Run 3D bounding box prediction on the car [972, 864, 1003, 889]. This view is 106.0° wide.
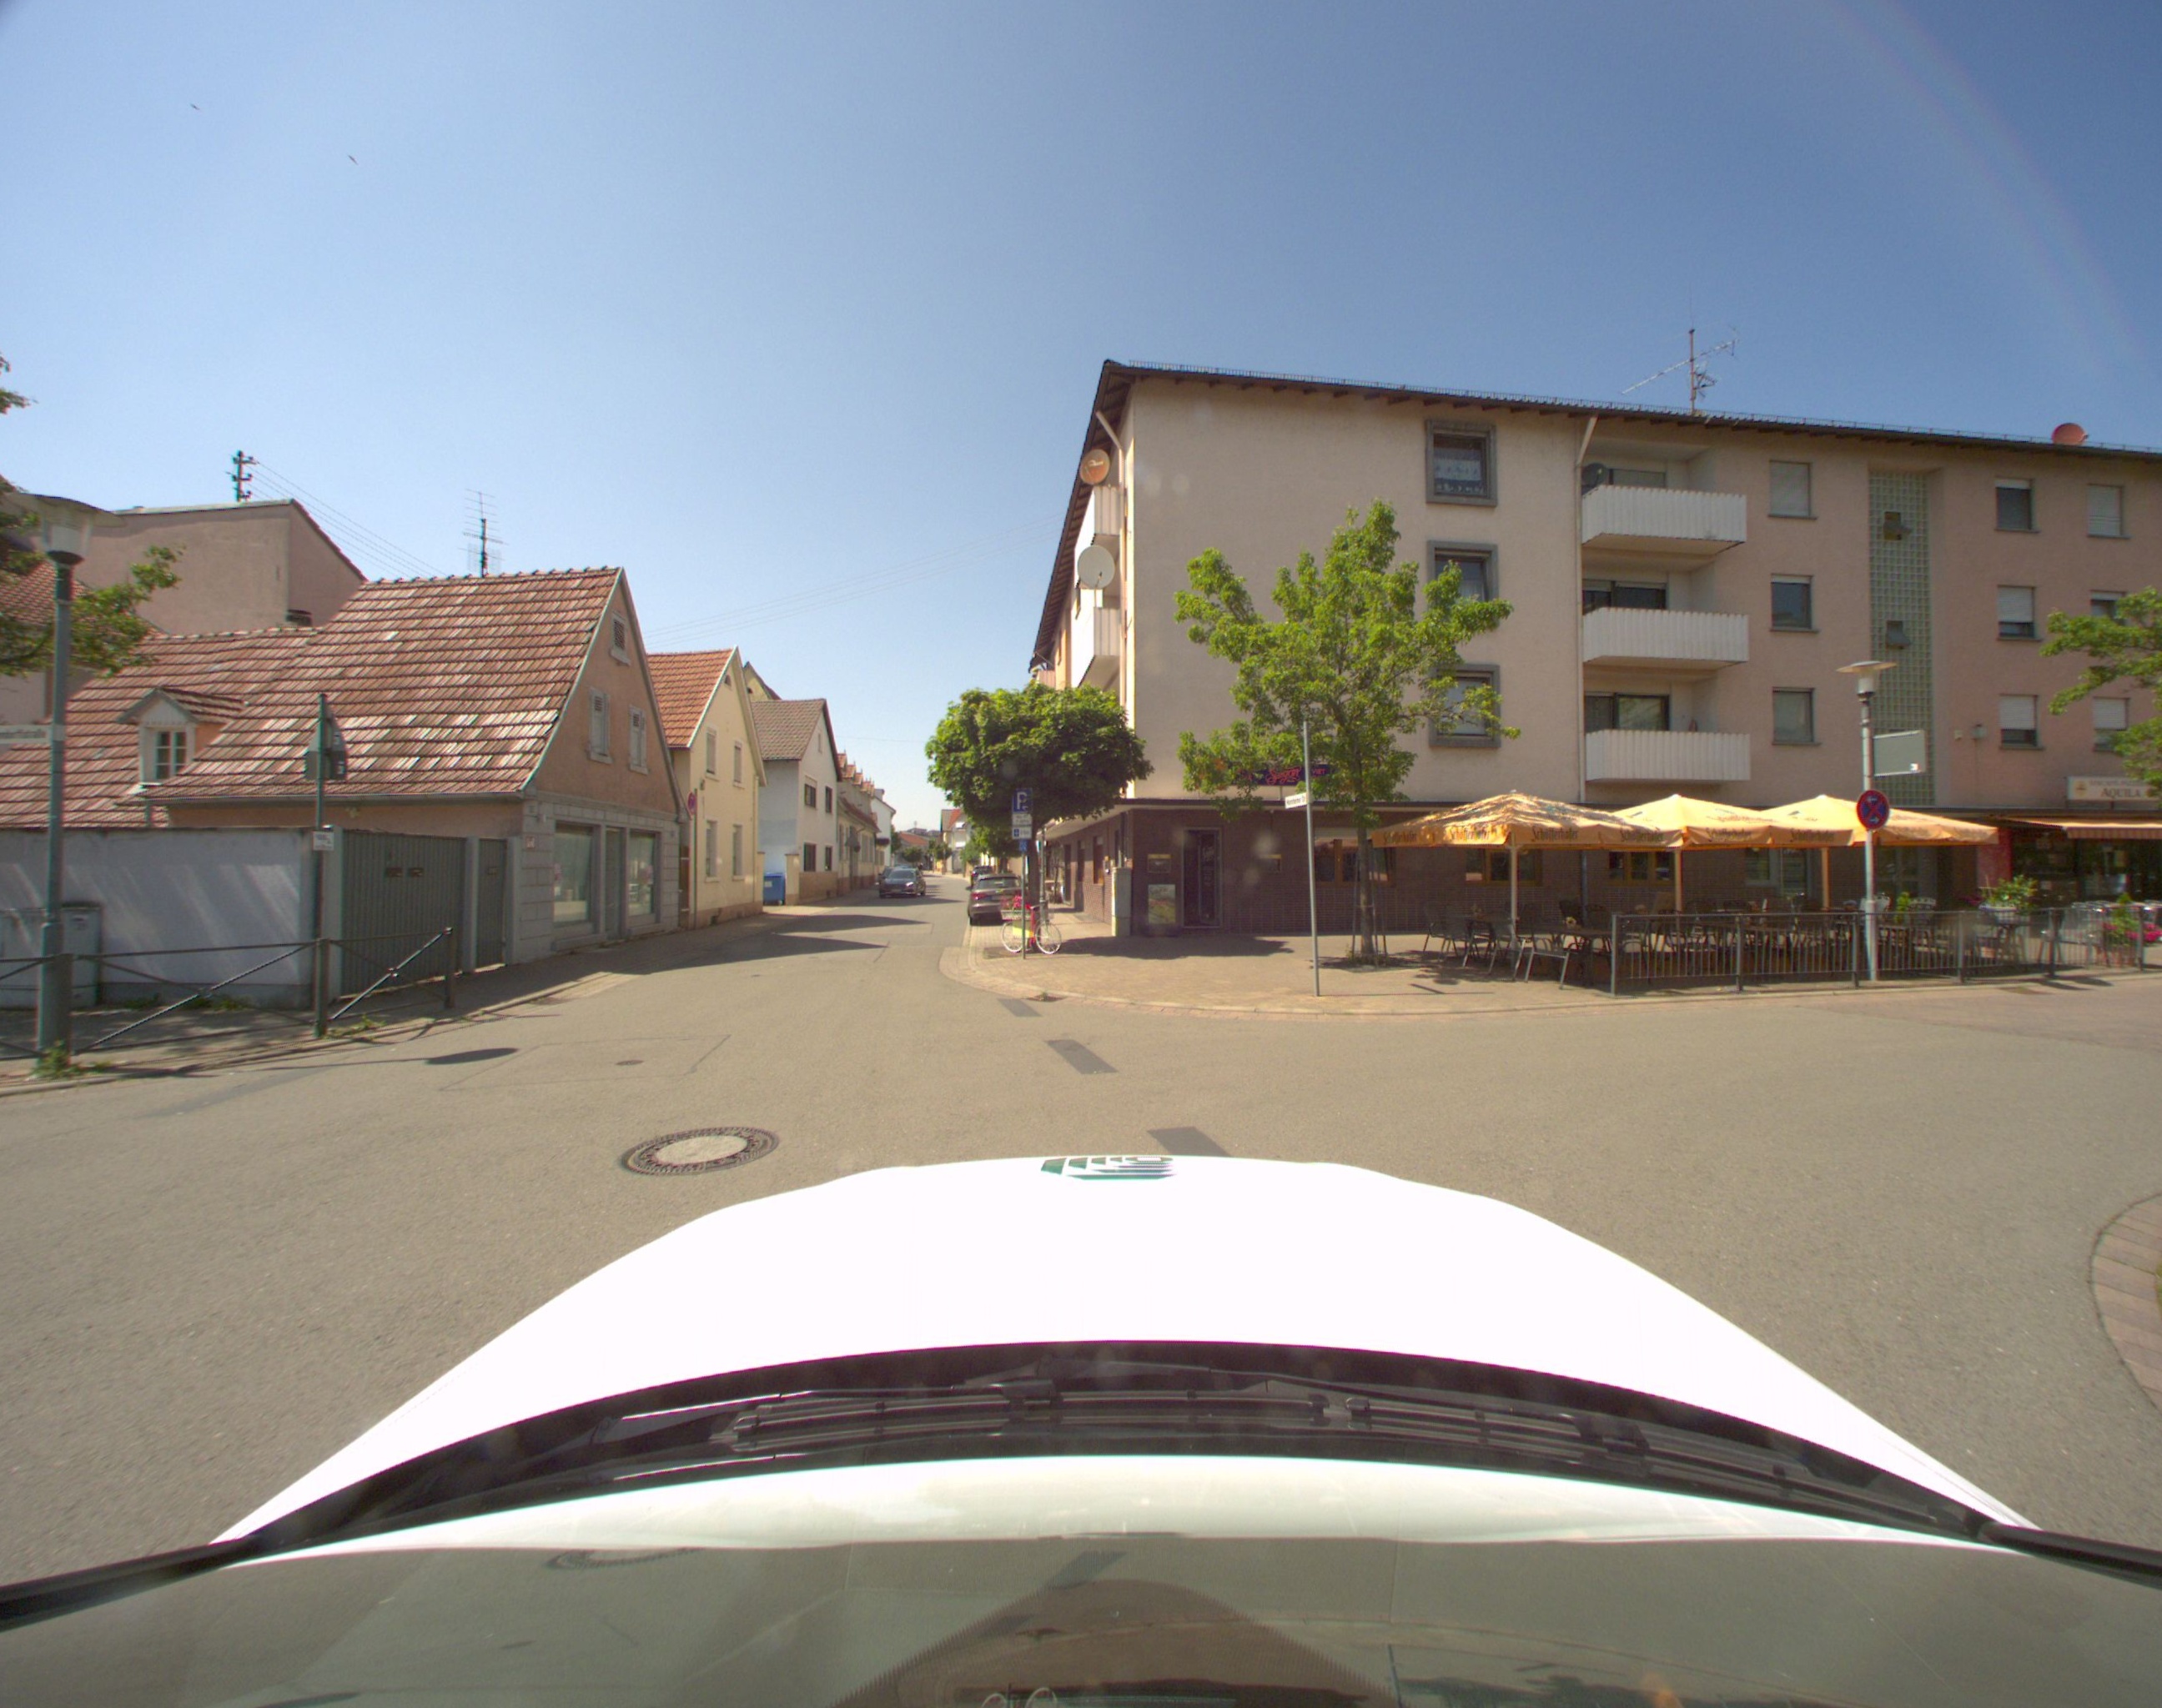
[{"bbox_3d":[-6.633,1.545,57.382,2.041,1.689,4.828,-1,-1,-8],"label":"car"}]

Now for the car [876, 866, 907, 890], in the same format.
[{"bbox_3d":[-12.425,1.554,53.641,1.662,1.476,4.122,-1,-1,-8],"label":"car"}]

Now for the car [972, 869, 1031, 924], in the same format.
[{"bbox_3d":[-2.330,1.178,23.880,1.574,1.454,3.478,-1,-1,-6],"label":"car"}]

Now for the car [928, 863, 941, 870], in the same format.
[{"bbox_3d":[-35.820,3.088,199.071,2.016,1.598,4.518,-1,-1,7],"label":"car"}]

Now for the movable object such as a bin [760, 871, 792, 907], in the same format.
[{"bbox_3d":[-12.011,1.373,32.108,1.100,1.366,0.389,-1,-1,-5],"label":"movable object such as a bin"}]

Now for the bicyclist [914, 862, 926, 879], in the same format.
[{"bbox_3d":[-15.059,1.551,76.348,1.048,1.637,1.123,-1,-1,-14],"label":"bicyclist"}]

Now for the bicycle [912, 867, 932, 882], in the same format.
[{"bbox_3d":[-14.950,1.921,76.572,1.626,1.371,3.907,-1,-1,-14],"label":"bicycle"}]

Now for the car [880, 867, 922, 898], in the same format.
[{"bbox_3d":[-9.304,1.541,42.404,1.909,1.482,4.826,-1,-3,-10],"label":"car"}]

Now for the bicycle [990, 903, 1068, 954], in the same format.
[{"bbox_3d":[-0.990,1.390,15.378,1.396,0.897,0.468,-2,-1,28],"label":"bicycle"}]
